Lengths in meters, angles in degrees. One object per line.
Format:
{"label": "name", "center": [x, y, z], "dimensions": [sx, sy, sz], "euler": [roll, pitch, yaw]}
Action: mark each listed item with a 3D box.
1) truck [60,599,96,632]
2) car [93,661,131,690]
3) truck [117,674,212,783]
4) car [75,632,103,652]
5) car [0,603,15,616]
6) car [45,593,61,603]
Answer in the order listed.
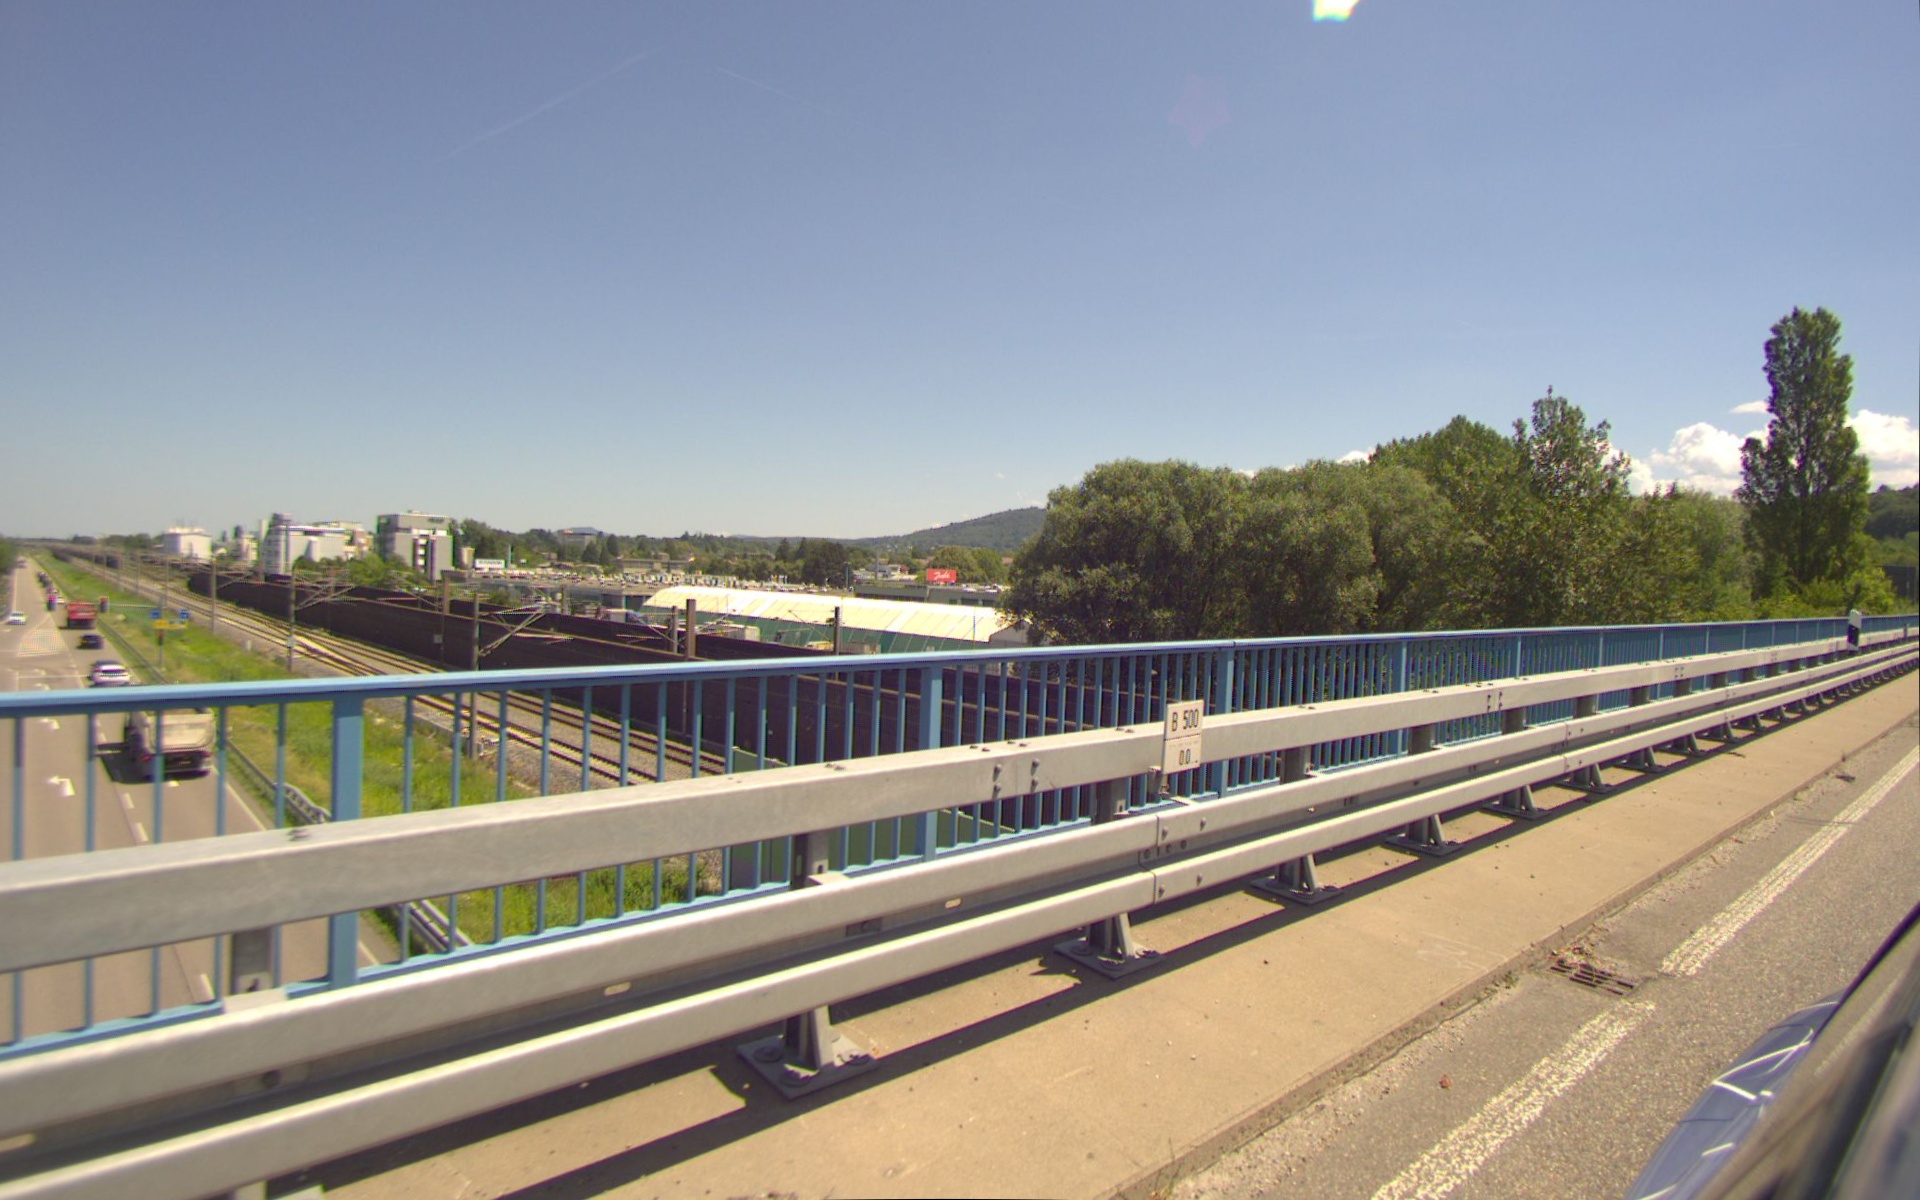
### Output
{"label": "truck", "center": [-111.641, 1.914, 128.025], "dimensions": [2.828, 3.467, 10.966], "euler": [2, 1, -44]}
{"label": "car", "center": [-61.505, 5.425, 73.369], "dimensions": [1.965, 1.638, 4.238], "euler": [3, 0, -41]}
{"label": "truck", "center": [-38.751, 5.918, 49.082], "dimensions": [2.826, 3.467, 11.921], "euler": [2, 1, -42]}
{"label": "car", "center": [-87.634, 4.213, 101.803], "dimensions": [1.966, 1.638, 4.235], "euler": [3, 0, -43]}
{"label": "car", "center": [-138.050, 1.337, 146.178], "dimensions": [1.964, 1.638, 4.240], "euler": [3, 0, -39]}
{"label": "car", "center": [-157.125, -0.356, 175.357], "dimensions": [1.965, 1.638, 4.238], "euler": [3, 0, -41]}
